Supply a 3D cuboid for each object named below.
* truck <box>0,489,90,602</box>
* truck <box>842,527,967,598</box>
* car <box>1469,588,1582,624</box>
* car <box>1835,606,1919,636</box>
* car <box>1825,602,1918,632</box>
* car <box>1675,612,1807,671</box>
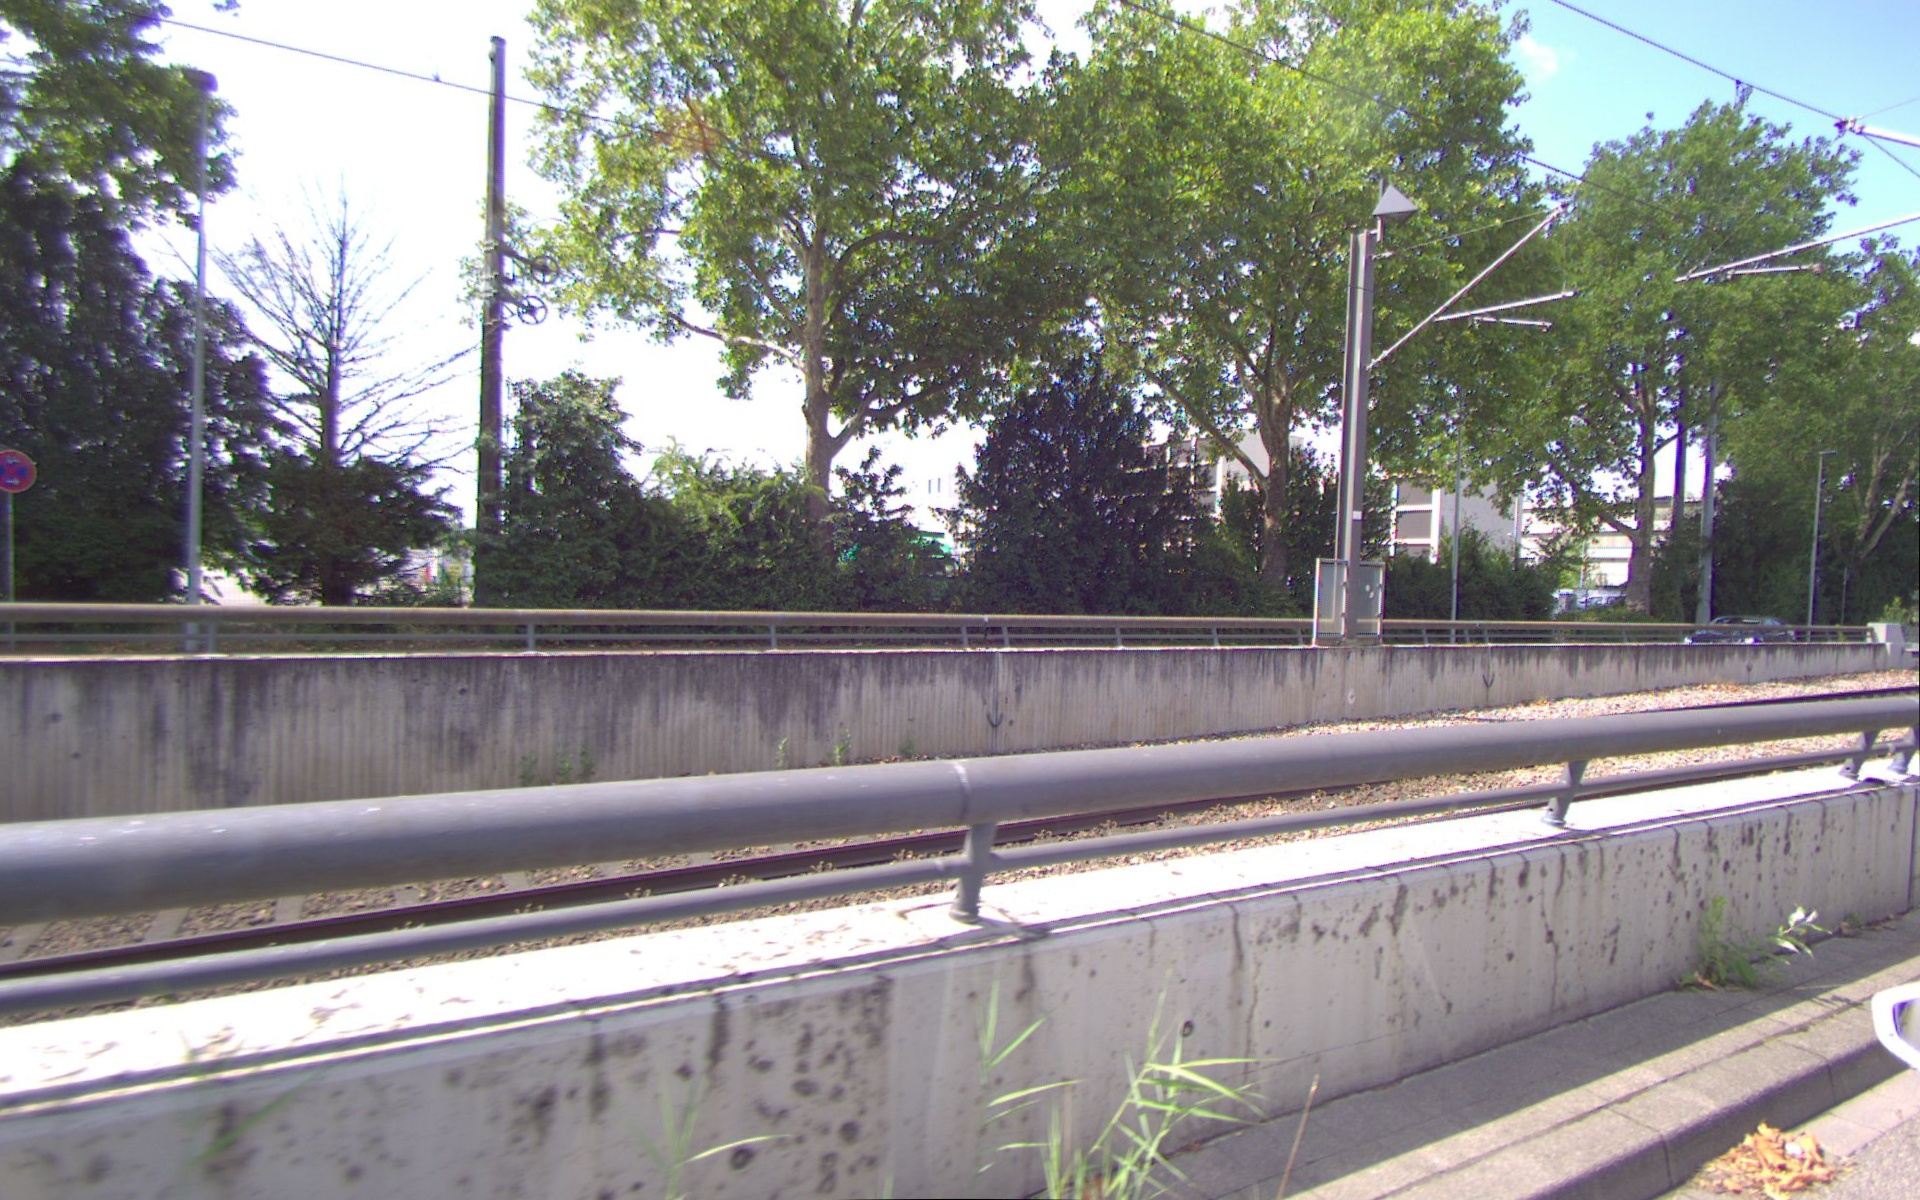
[{"bbox_3d":[-38.274,-2.028,39.850,2.714,4.128,12.738,1,-1,-28],"label":"truck"},{"bbox_3d":[-2.760,-1.536,45.783,2.669,2.830,8.808,1,-1,-24],"label":"truck"},{"bbox_3d":[25.492,0.260,45.392,1.976,1.461,3.969,1,1,-29],"label":"car"},{"bbox_3d":[58.853,1.310,64.288,1.784,1.773,3.964,1,1,-32],"label":"car"},{"bbox_3d":[57.100,1.034,62.983,1.784,1.773,3.964,1,1,-32],"label":"car"},{"bbox_3d":[23.331,1.212,29.970,4.247,1.618,1.659,1,0,-30],"label":"car"}]
